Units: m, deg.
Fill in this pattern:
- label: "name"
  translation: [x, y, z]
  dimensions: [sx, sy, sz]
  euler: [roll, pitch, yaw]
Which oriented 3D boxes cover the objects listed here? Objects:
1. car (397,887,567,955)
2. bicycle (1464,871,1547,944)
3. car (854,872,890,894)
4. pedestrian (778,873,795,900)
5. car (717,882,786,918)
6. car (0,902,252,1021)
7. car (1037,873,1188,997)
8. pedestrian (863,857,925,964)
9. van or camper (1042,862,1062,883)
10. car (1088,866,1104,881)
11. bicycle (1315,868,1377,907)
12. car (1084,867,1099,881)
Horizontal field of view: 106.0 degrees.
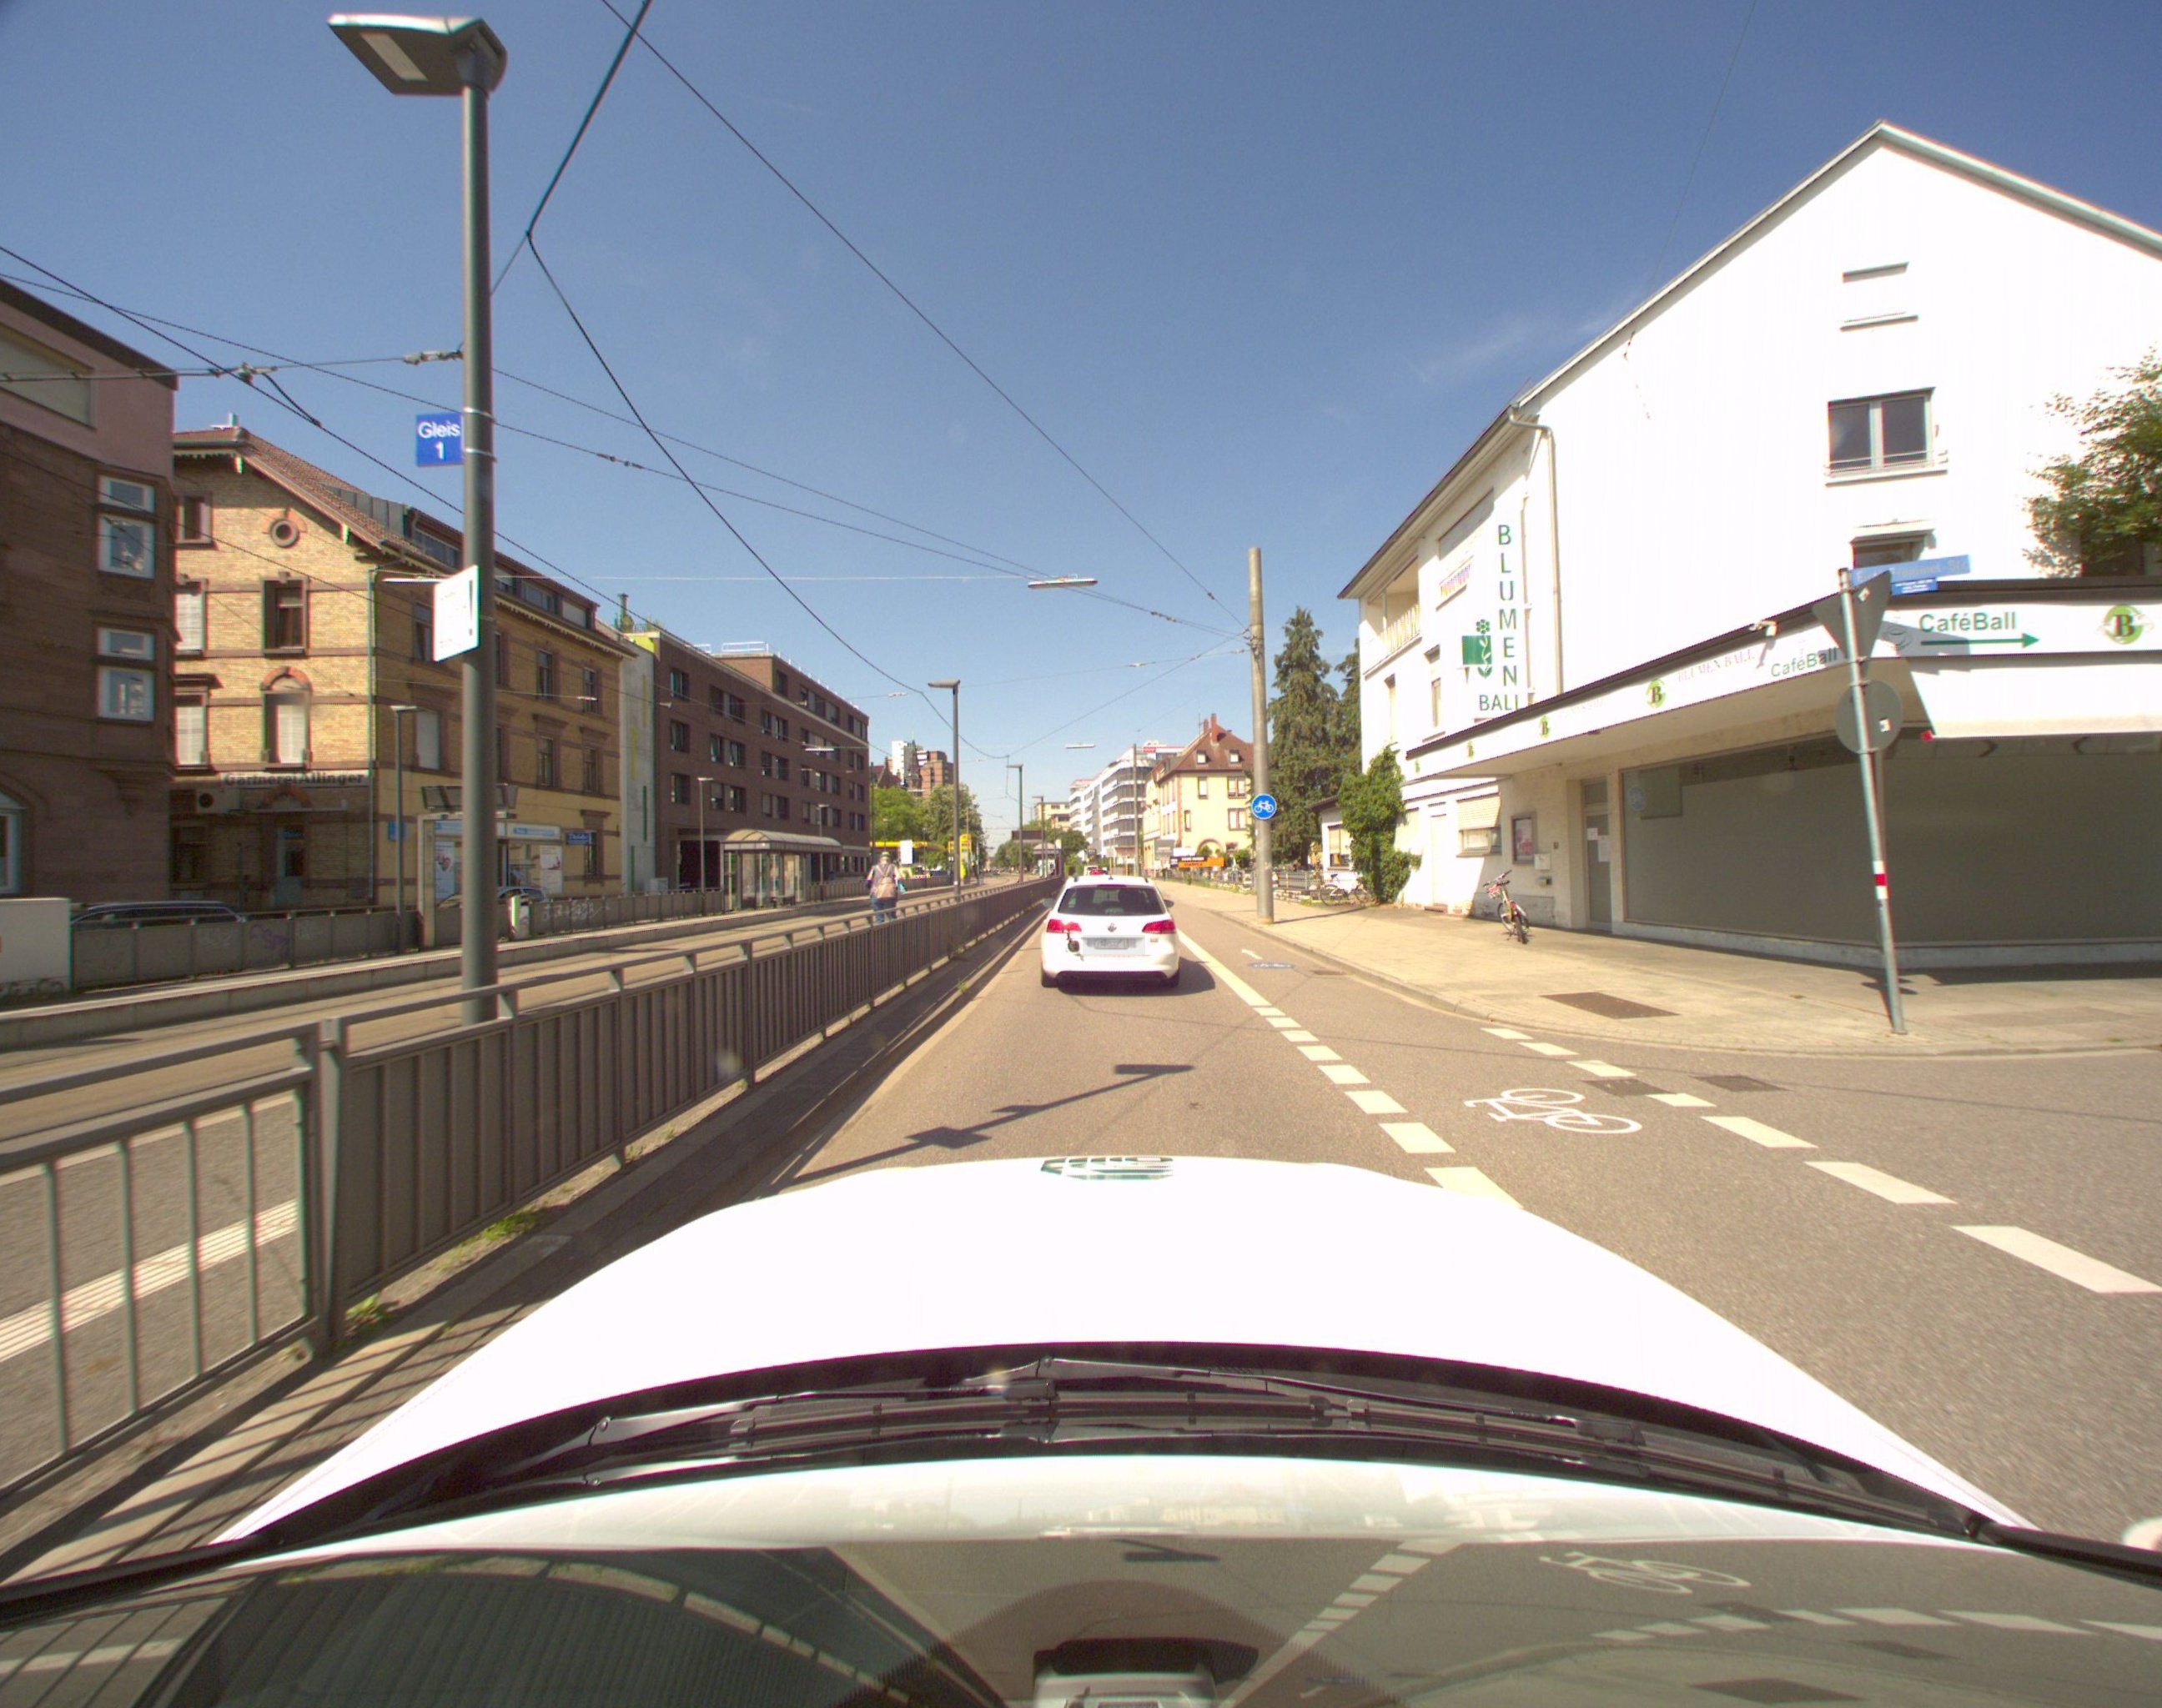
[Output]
- label: "car"
  translation: [-15.222, 1.647, 20.958]
  dimensions: [1.568, 1.459, 3.737]
  euler: [-2, -1, 0]
- label: "bicycle"
  translation: [7.292, 0.879, 14.104]
  dimensions: [0.720, 1.139, 2.202]
  euler: [-2, -1, 14]
- label: "car"
  translation: [-14.846, 2.067, 57.937]
  dimensions: [1.568, 1.459, 3.737]
  euler: [-2, -1, 0]
- label: "pedestrian"
  translation: [-19.947, 2.209, 55.117]
  dimensions: [0.722, 1.791, 0.964]
  euler: [-2, -1, 1]
- label: "car"
  translation: [-15.143, 2.068, 37.678]
  dimensions: [1.568, 1.459, 3.934]
  euler: [-2, -1, 0]
- label: "car"
  translation: [-15.409, 1.572, 12.476]
  dimensions: [1.569, 1.459, 3.810]
  euler: [-2, -1, -2]
- label: "car"
  translation: [0.416, 0.985, 11.419]
  dimensions: [1.746, 1.418, 3.853]
  euler: [0, -1, 1]
- label: "pedestrian"
  translation: [-3.303, 0.985, 14.442]
  dimensions: [0.823, 1.809, 0.833]
  euler: [-2, -1, 1]
- label: "van or camper"
  translation: [-4.685, 3.016, 130.625]
  dimensions: [2.937, 3.180, 6.606]
  euler: [-2, -1, -3]
- label: "car"
  translation: [2.127, 2.804, 115.912]
  dimensions: [1.989, 2.014, 3.995]
  euler: [-2, -1, -3]
- label: "bicycle"
  translation: [8.192, 1.036, 25.175]
  dimensions: [1.705, 1.130, 0.526]
  euler: [-2, -1, 2]
- label: "car"
  translation: [1.576, 2.941, 121.337]
  dimensions: [1.989, 2.014, 3.995]
  euler: [-2, -1, -3]
